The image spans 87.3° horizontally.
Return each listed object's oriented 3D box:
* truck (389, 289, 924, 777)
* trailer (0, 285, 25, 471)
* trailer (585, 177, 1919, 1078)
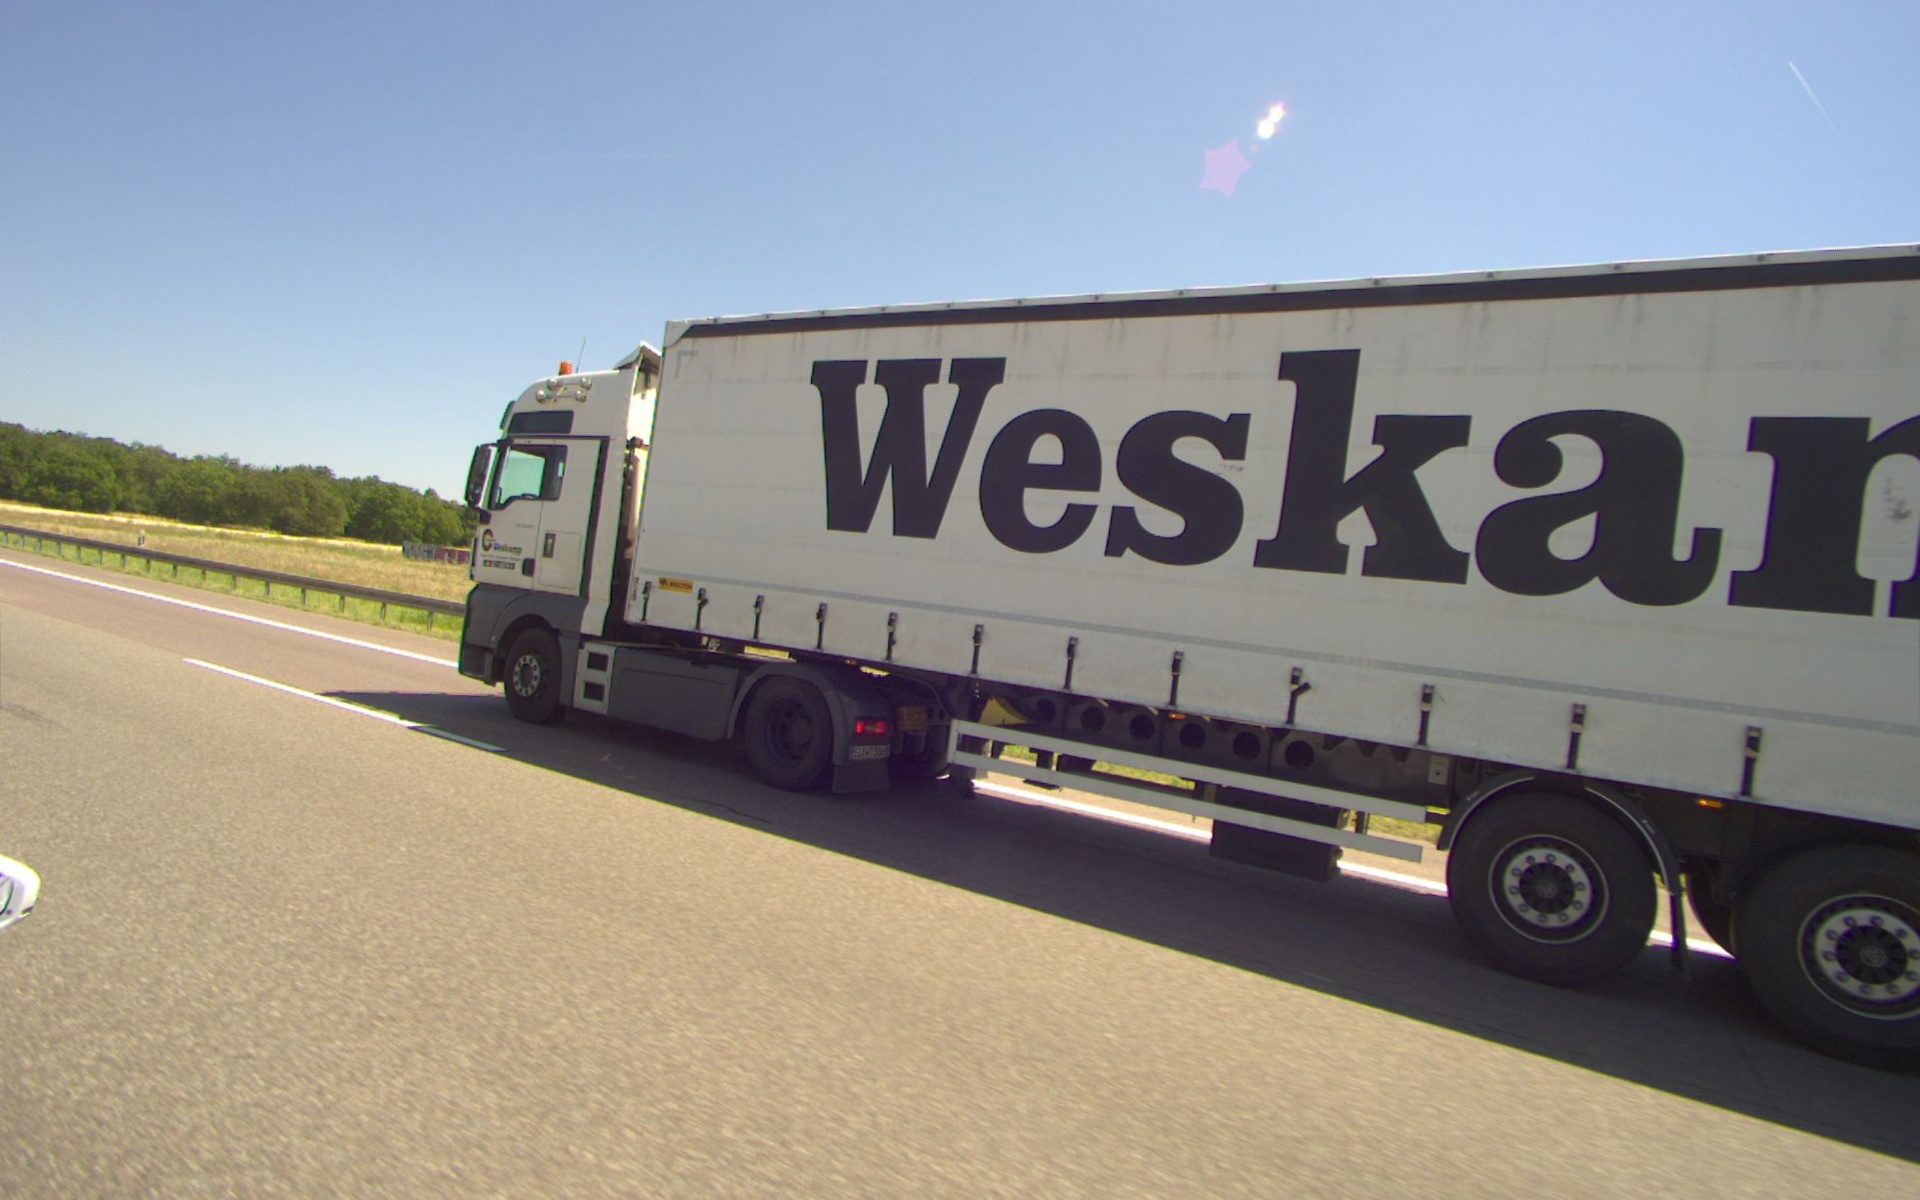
[{"bbox_3d":[-3.433,-0.691,11.234,5.005,4.305,2.605,6,-1,32],"label":"truck"},{"bbox_3d":[-20.834,-3.078,17.652,13.760,4.711,2.905,6,-1,33],"label":"trailer"},{"bbox_3d":[3.036,-0.008,7.263,13.413,4.301,2.601,6,-2,31],"label":"trailer"}]
